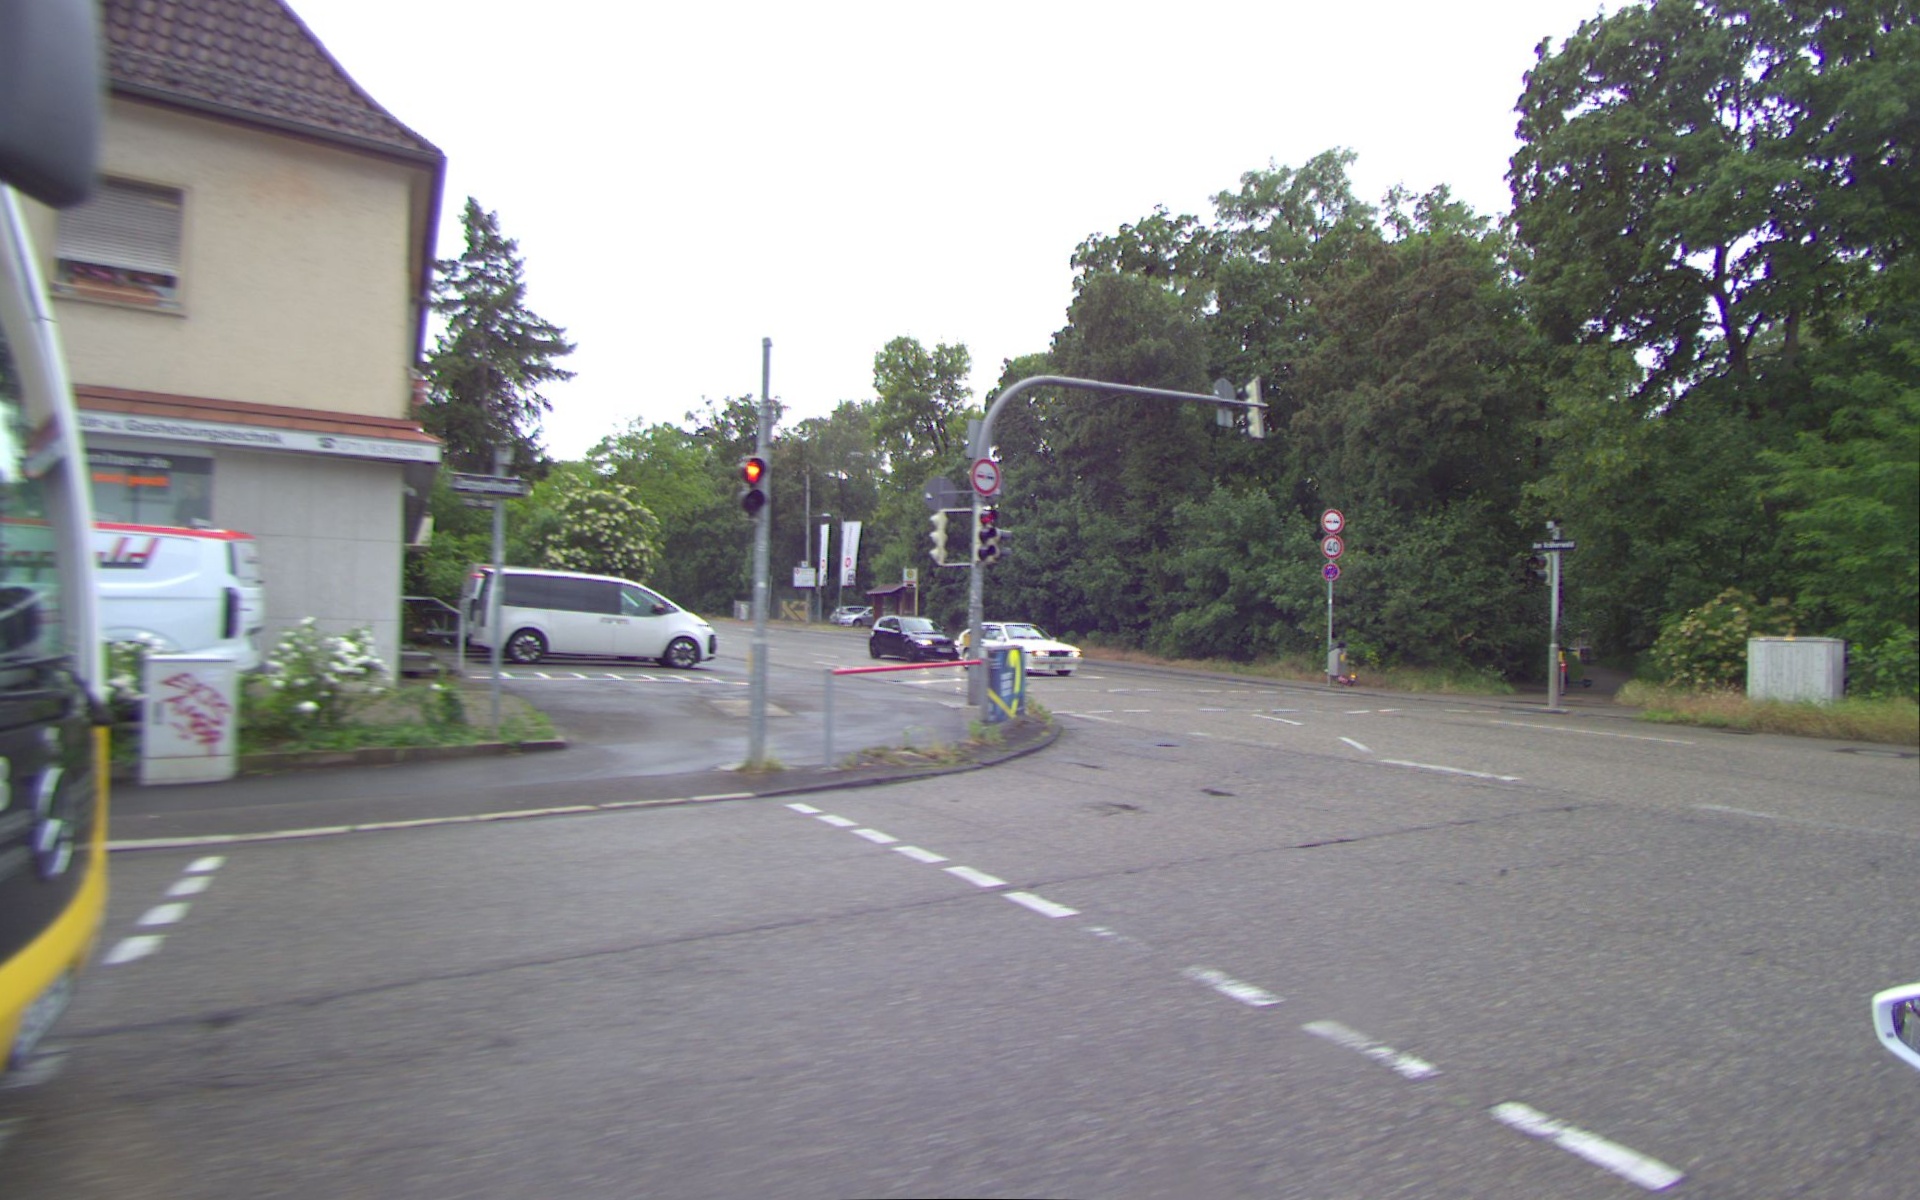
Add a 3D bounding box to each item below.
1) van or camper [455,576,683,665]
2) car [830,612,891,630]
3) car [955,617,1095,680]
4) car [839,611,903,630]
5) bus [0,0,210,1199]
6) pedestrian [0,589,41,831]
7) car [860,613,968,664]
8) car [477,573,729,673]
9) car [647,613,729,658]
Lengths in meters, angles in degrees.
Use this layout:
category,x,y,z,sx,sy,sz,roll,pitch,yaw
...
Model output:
category,x,y,z,sx,sy,sz,roll,pitch,yaw
van or camper,-9.755,0.535,25.142,5.116,2.040,1.986,1,0,-28
car,-6.955,1.487,70.309,3.953,1.216,1.593,1,-1,-31
car,1.602,1.206,26.113,1.803,1.372,3.970,2,0,-28
car,-5.989,1.376,67.719,3.953,1.216,1.593,1,-1,-31
bus,-6.017,-0.309,0.324,8.938,3.443,2.885,1,-2,-32
pedestrian,-6.850,0.758,7.063,0.406,1.657,0.454,1,1,-16
car,-1.503,1.176,31.305,1.803,1.372,3.970,2,0,-28
car,-7.959,0.521,22.494,5.114,2.040,1.986,1,0,-27
car,-9.760,1.244,35.825,1.979,1.372,3.970,2,0,-28
